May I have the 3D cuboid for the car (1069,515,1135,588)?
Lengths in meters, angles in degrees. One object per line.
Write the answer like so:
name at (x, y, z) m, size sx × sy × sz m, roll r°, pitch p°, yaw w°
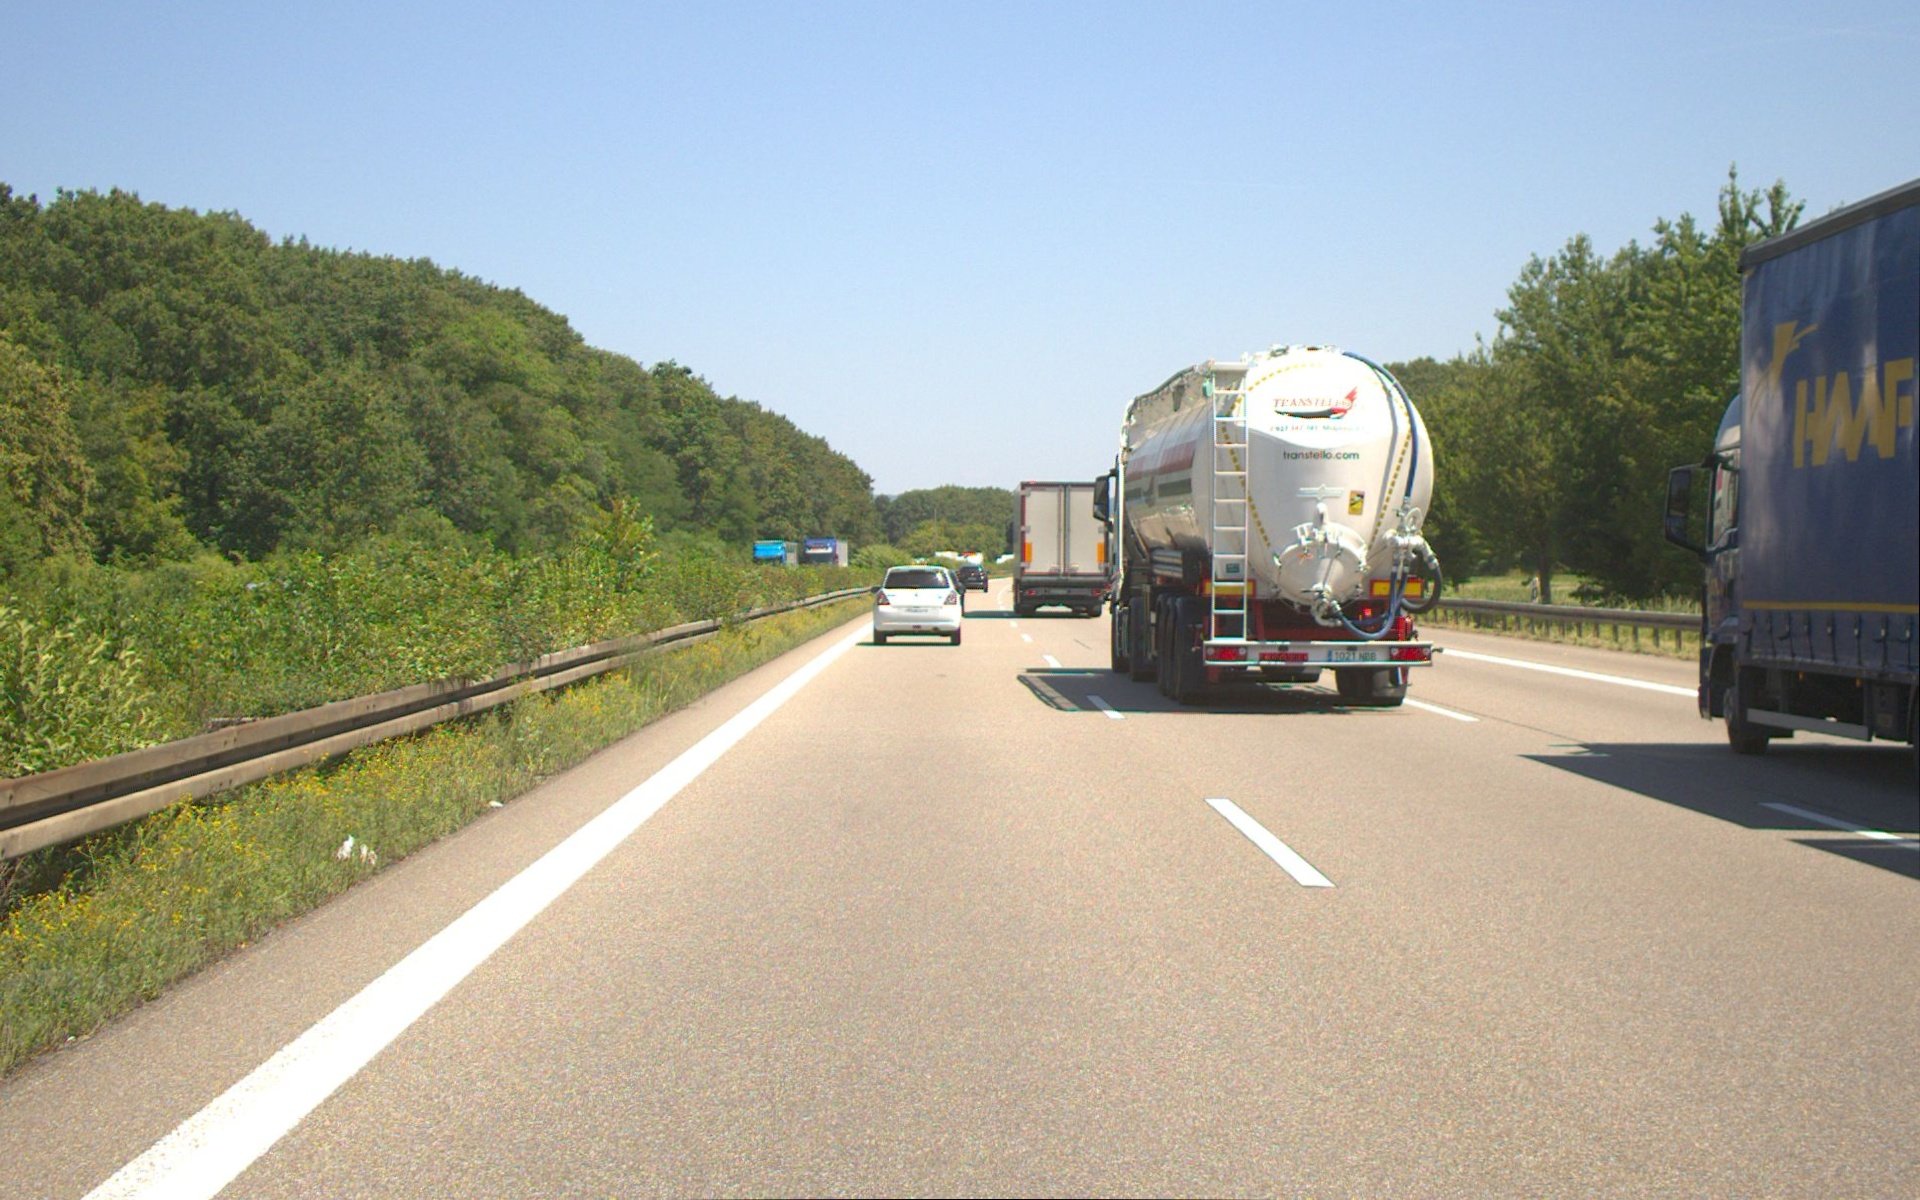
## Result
car at (6.394, -2.198, 155.358) m, size 2.669 × 3.179 × 5.567 m, roll 1°, pitch 1°, yaw -1°

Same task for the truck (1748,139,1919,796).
truck at (7.603, -0.758, 18.136) m, size 3.109 × 4.124 × 15.512 m, roll 1°, pitch 1°, yaw -1°

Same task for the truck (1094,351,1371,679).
truck at (3.553, -1.130, 46.708) m, size 2.911 × 4.065 × 7.196 m, roll 1°, pitch 1°, yaw -2°

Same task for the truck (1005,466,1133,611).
truck at (3.266, -1.905, 106.481) m, size 3.394 × 4.199 × 12.084 m, roll 1°, pitch 1°, yaw -1°

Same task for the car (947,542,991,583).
car at (0.488, -2.199, 200.571) m, size 2.475 × 2.346 × 5.182 m, roll 1°, pitch 1°, yaw -1°

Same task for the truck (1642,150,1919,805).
truck at (7.525, -0.818, 25.699) m, size 3.109 × 4.124 × 8.057 m, roll 1°, pitch 1°, yaw -1°

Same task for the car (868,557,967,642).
car at (-0.844, -0.031, 66.676) m, size 1.799 × 1.546 × 3.610 m, roll 1°, pitch 1°, yaw -2°

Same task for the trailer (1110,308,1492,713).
trailer at (3.730, -1.014, 41.065) m, size 2.911 × 4.055 × 12.419 m, roll 1°, pitch 1°, yaw -2°
